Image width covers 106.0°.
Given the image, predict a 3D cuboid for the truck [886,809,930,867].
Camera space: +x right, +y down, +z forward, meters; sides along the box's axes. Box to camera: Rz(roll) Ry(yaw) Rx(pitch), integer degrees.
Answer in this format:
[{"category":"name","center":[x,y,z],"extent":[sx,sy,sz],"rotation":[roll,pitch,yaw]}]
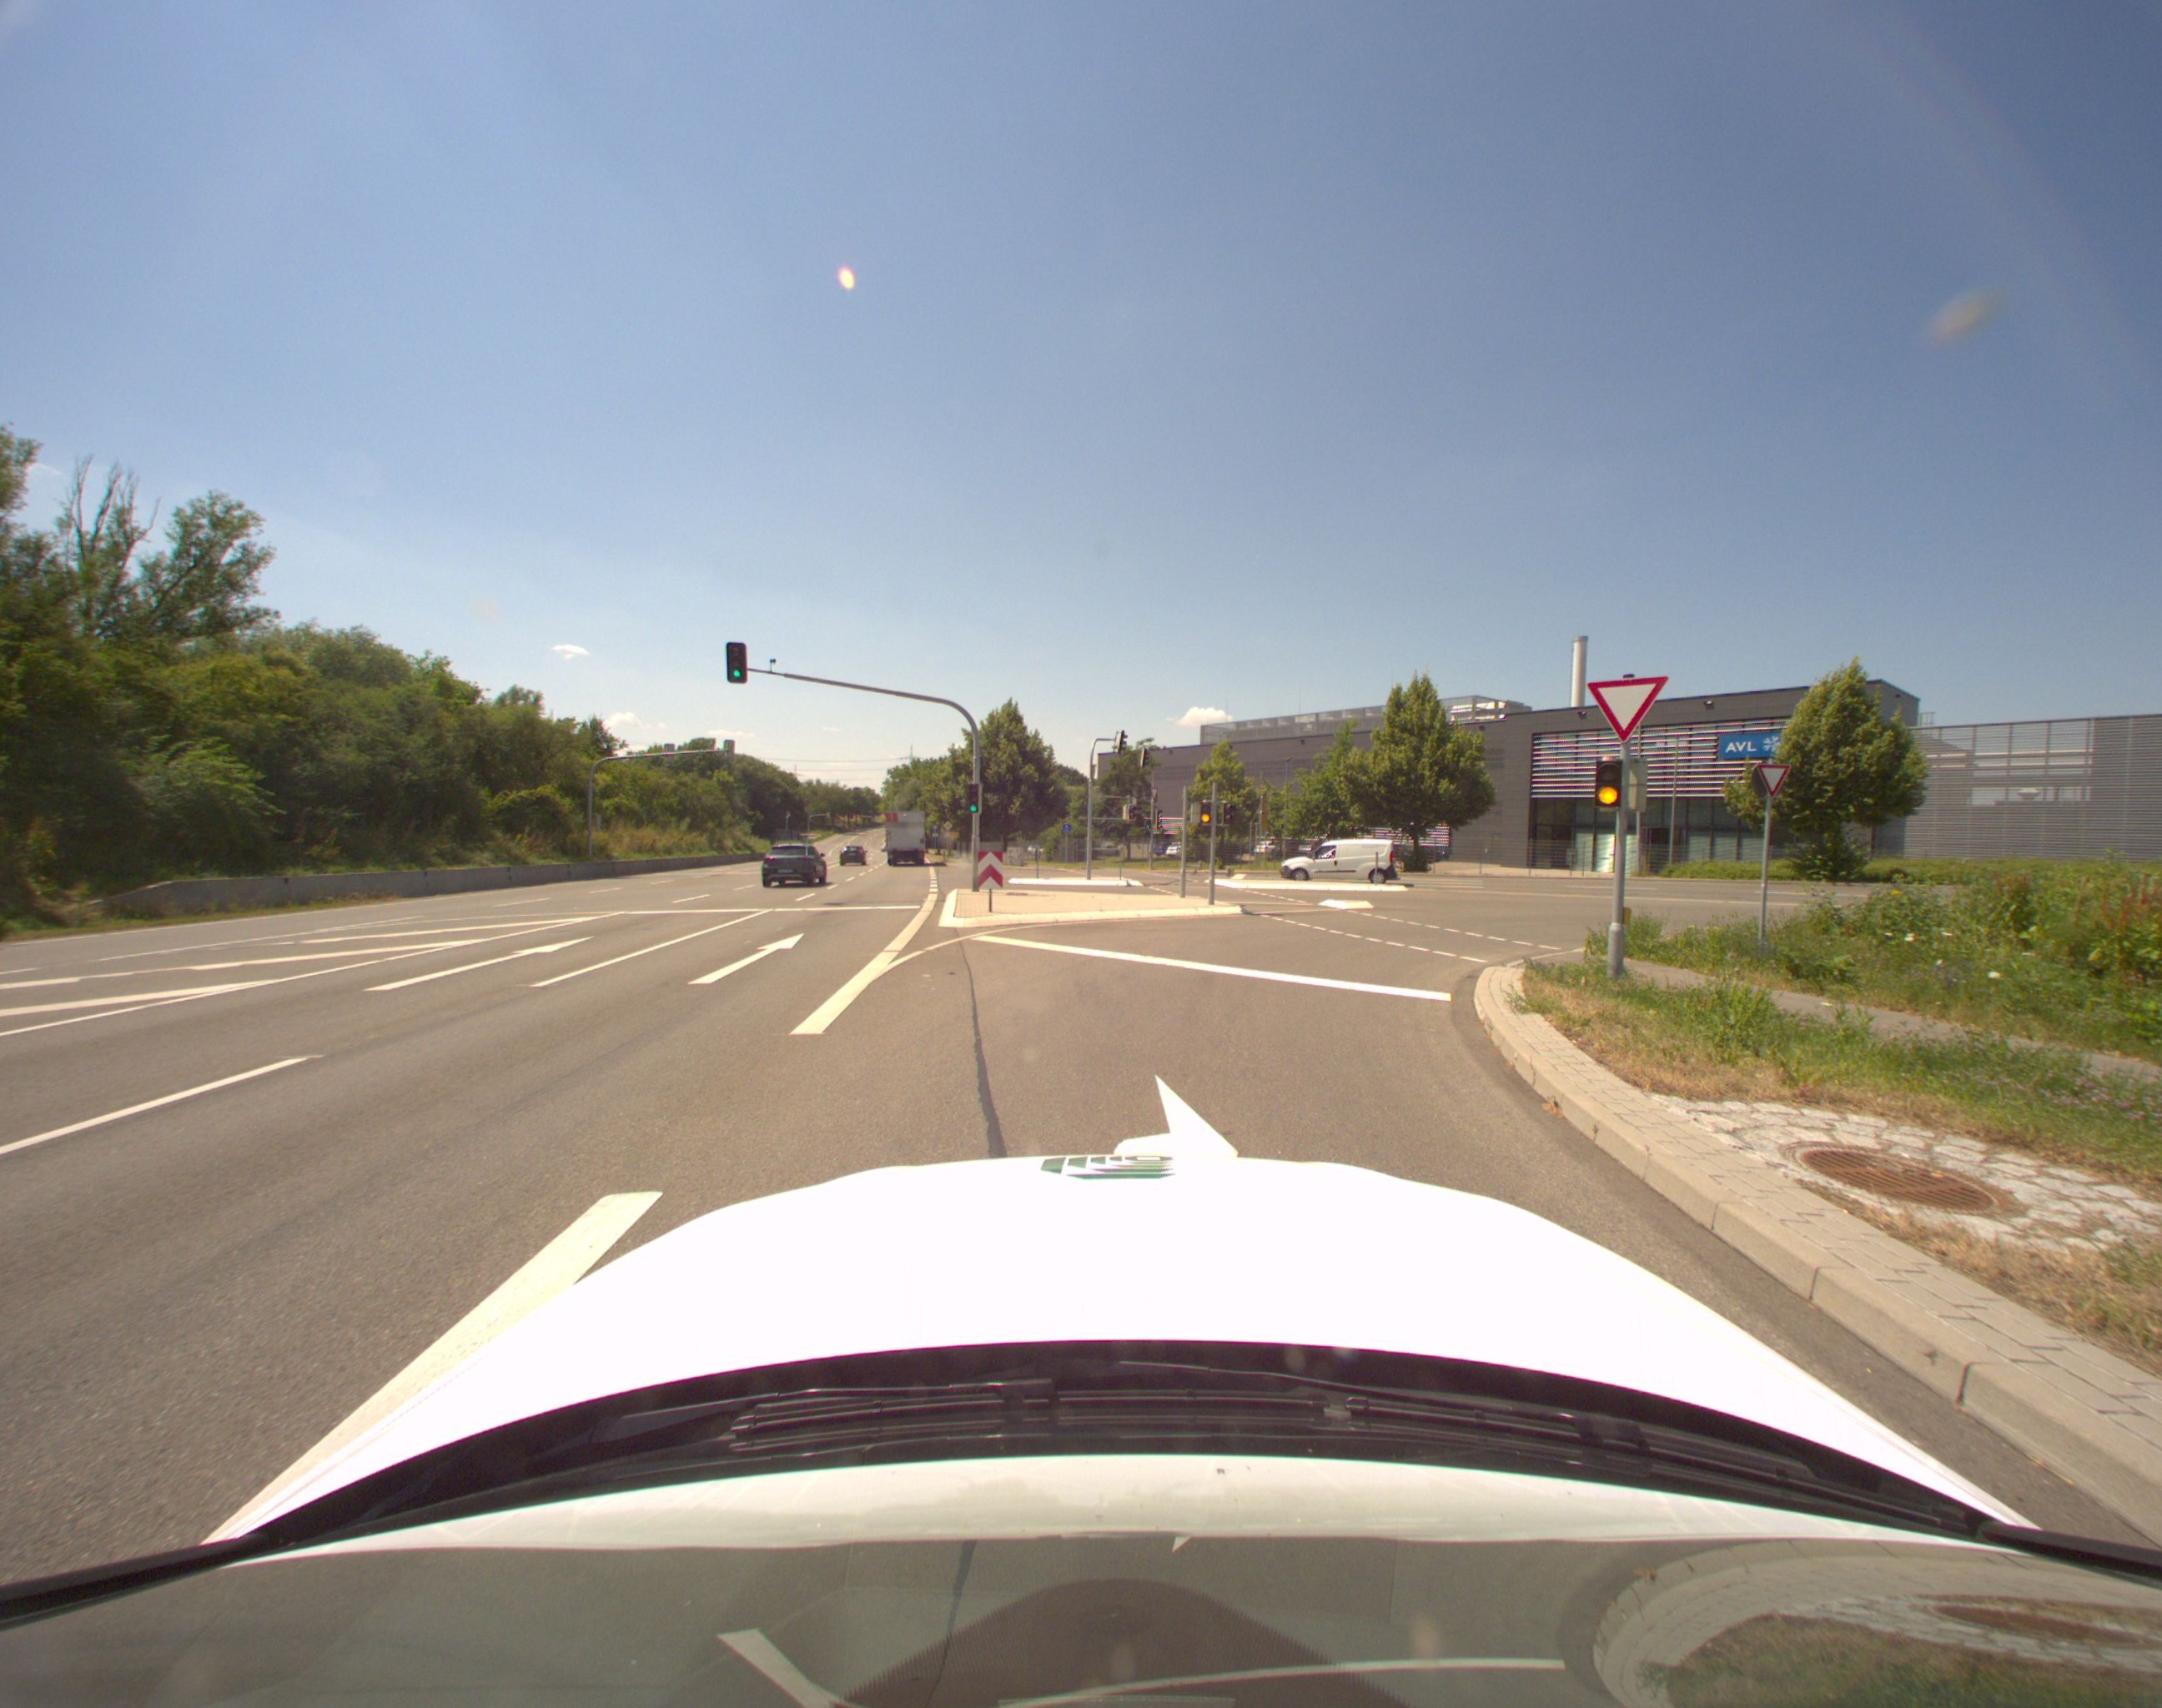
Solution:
[{"category":"truck","center":[-12.107,-1.151,57.245],"extent":[2.805,3.710,9.073],"rotation":[0,1,-12]}]

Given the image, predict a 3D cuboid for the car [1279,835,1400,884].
[{"category":"car","center":[10.803,0.186,34.031],"extent":[4.705,1.932,2.164],"rotation":[0,0,20]}]

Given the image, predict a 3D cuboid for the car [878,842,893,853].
[{"category":"car","center":[-31.797,-1.048,132.443],"extent":[1.948,1.664,3.978],"rotation":[3,1,-17]}]

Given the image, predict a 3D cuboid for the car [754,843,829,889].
[{"category":"car","center":[-10.649,0.388,30.270],"extent":[1.834,1.586,4.377],"rotation":[-1,1,-9]}]

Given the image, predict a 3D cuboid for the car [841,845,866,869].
[{"category":"car","center":[-16.179,0.182,58.041],"extent":[1.656,1.493,4.187],"rotation":[0,2,-15]}]
